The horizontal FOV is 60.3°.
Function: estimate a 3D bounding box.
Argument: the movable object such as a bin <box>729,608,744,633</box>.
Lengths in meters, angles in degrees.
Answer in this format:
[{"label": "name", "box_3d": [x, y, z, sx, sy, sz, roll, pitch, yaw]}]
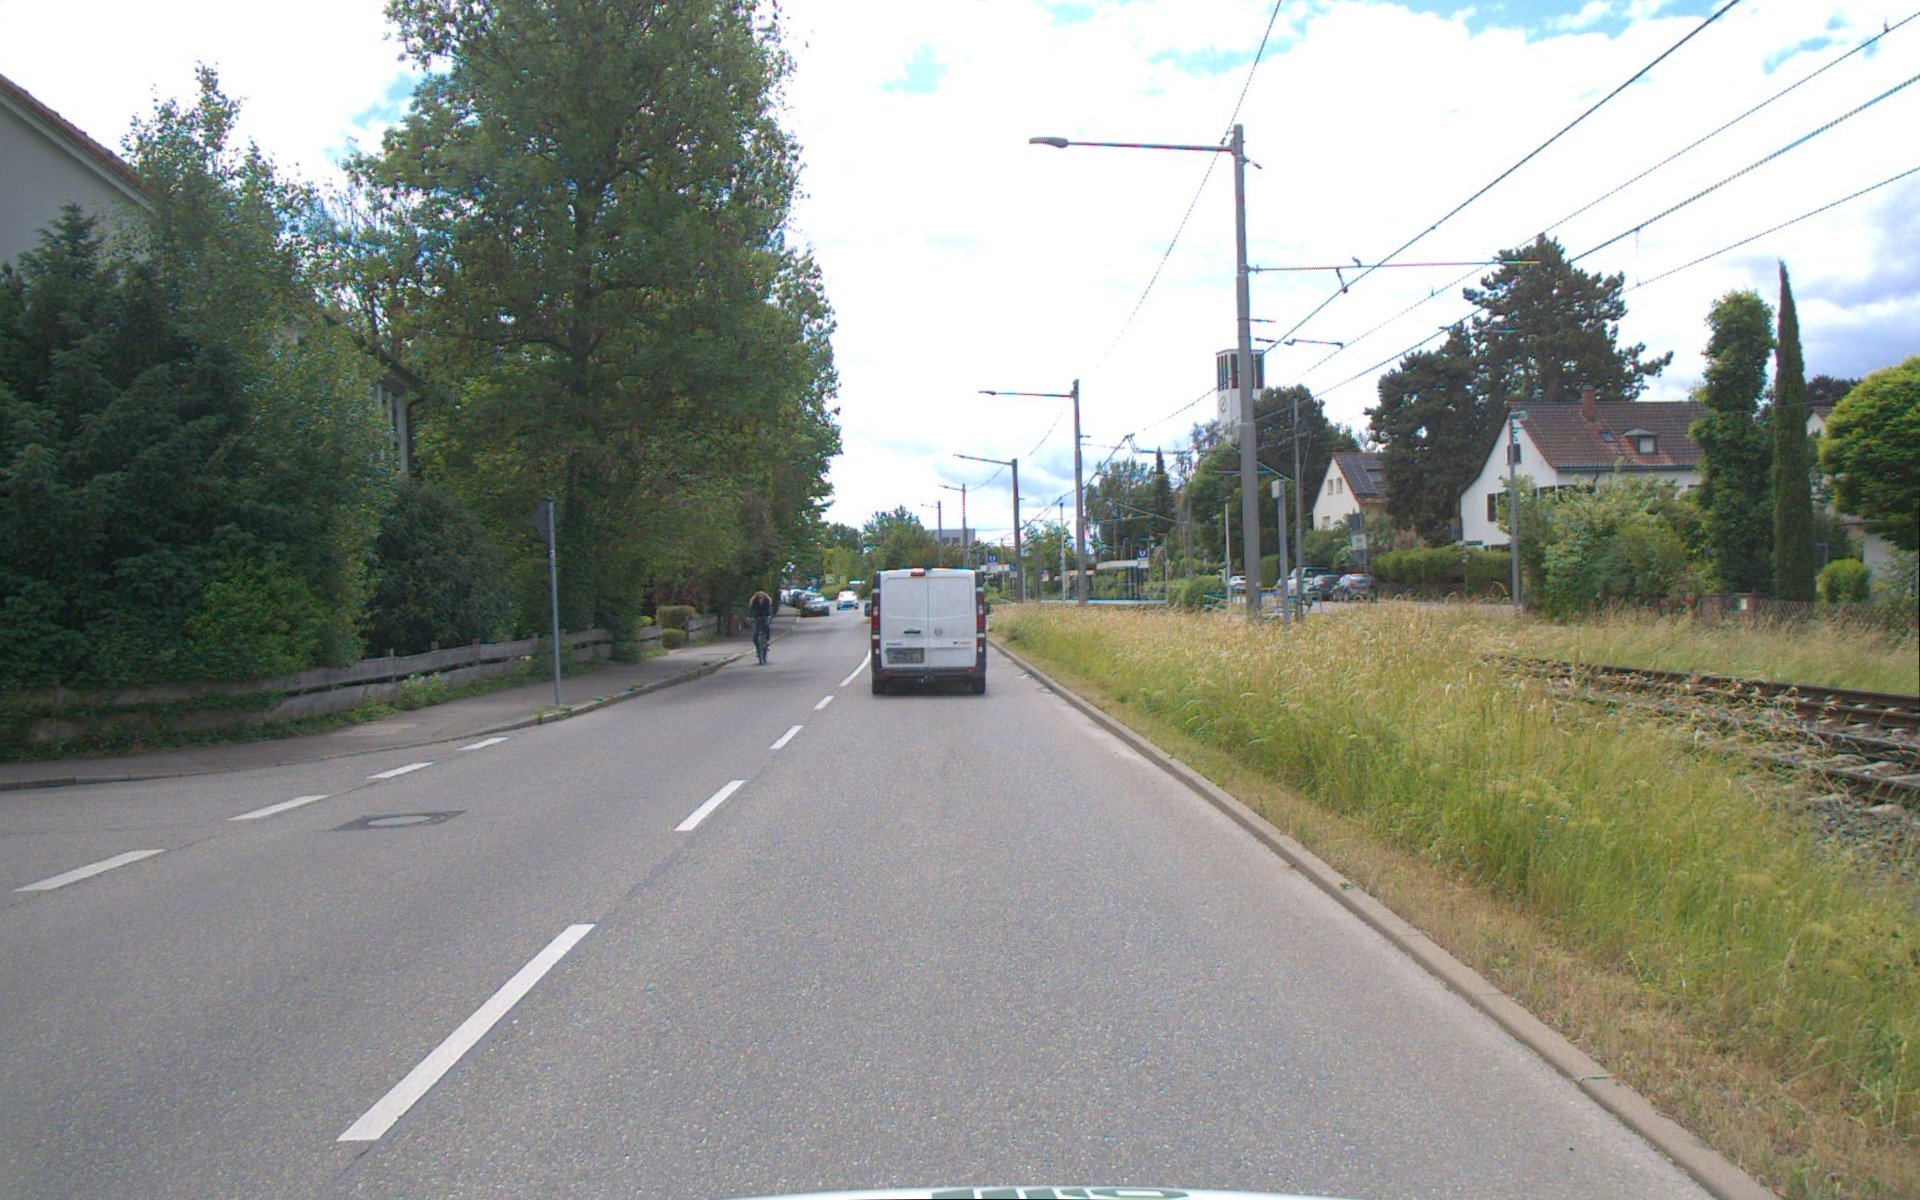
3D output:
[{"label": "movable object such as a bin", "box_3d": [-8.647, 0.785, 63.999, 0.503, 0.961, 0.568, 0, 0, -2]}]

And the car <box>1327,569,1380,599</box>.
[{"label": "car", "box_3d": [21.140, -0.849, 88.992, 1.845, 1.548, 4.000, -2, 0, 0]}]

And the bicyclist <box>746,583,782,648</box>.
[{"label": "bicyclist", "box_3d": [-4.925, 0.383, 41.607, 0.762, 1.576, 0.869, -2, 0, -1]}]

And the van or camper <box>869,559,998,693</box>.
[{"label": "van or camper", "box_3d": [-0.427, 0.400, 27.557, 1.953, 2.049, 4.445, 0, 0, -1]}]

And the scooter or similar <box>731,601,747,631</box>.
[{"label": "scooter or similar", "box_3d": [-9.290, 0.653, 69.530, 0.400, 1.220, 1.639, -2, 0, 0]}]

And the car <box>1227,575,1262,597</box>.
[{"label": "car", "box_3d": [20.936, -1.054, 121.670, 1.845, 1.548, 4.000, -2, 0, 0]}]

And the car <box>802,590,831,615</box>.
[{"label": "car", "box_3d": [-9.649, 0.133, 110.756, 1.704, 1.531, 4.470, -3, 1, -7]}]

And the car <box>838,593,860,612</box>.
[{"label": "car", "box_3d": [-9.136, 0.219, 135.481, 1.661, 1.455, 3.783, -4, 0, -5]}]

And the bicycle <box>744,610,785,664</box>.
[{"label": "bicycle", "box_3d": [-4.902, 0.905, 41.668, 0.740, 1.248, 2.308, -3, 0, -1]}]

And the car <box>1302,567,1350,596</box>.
[{"label": "car", "box_3d": [21.038, -1.068, 95.179, 1.845, 1.548, 4.000, -2, 0, 0]}]

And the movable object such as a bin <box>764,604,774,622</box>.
[{"label": "movable object such as a bin", "box_3d": [-10.541, 0.717, 91.286, 0.455, 0.946, 0.428, 2, -1, -18]}]

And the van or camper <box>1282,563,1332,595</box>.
[{"label": "van or camper", "box_3d": [20.949, -1.258, 100.007, 1.866, 1.857, 5.047, -2, 0, 0]}]
